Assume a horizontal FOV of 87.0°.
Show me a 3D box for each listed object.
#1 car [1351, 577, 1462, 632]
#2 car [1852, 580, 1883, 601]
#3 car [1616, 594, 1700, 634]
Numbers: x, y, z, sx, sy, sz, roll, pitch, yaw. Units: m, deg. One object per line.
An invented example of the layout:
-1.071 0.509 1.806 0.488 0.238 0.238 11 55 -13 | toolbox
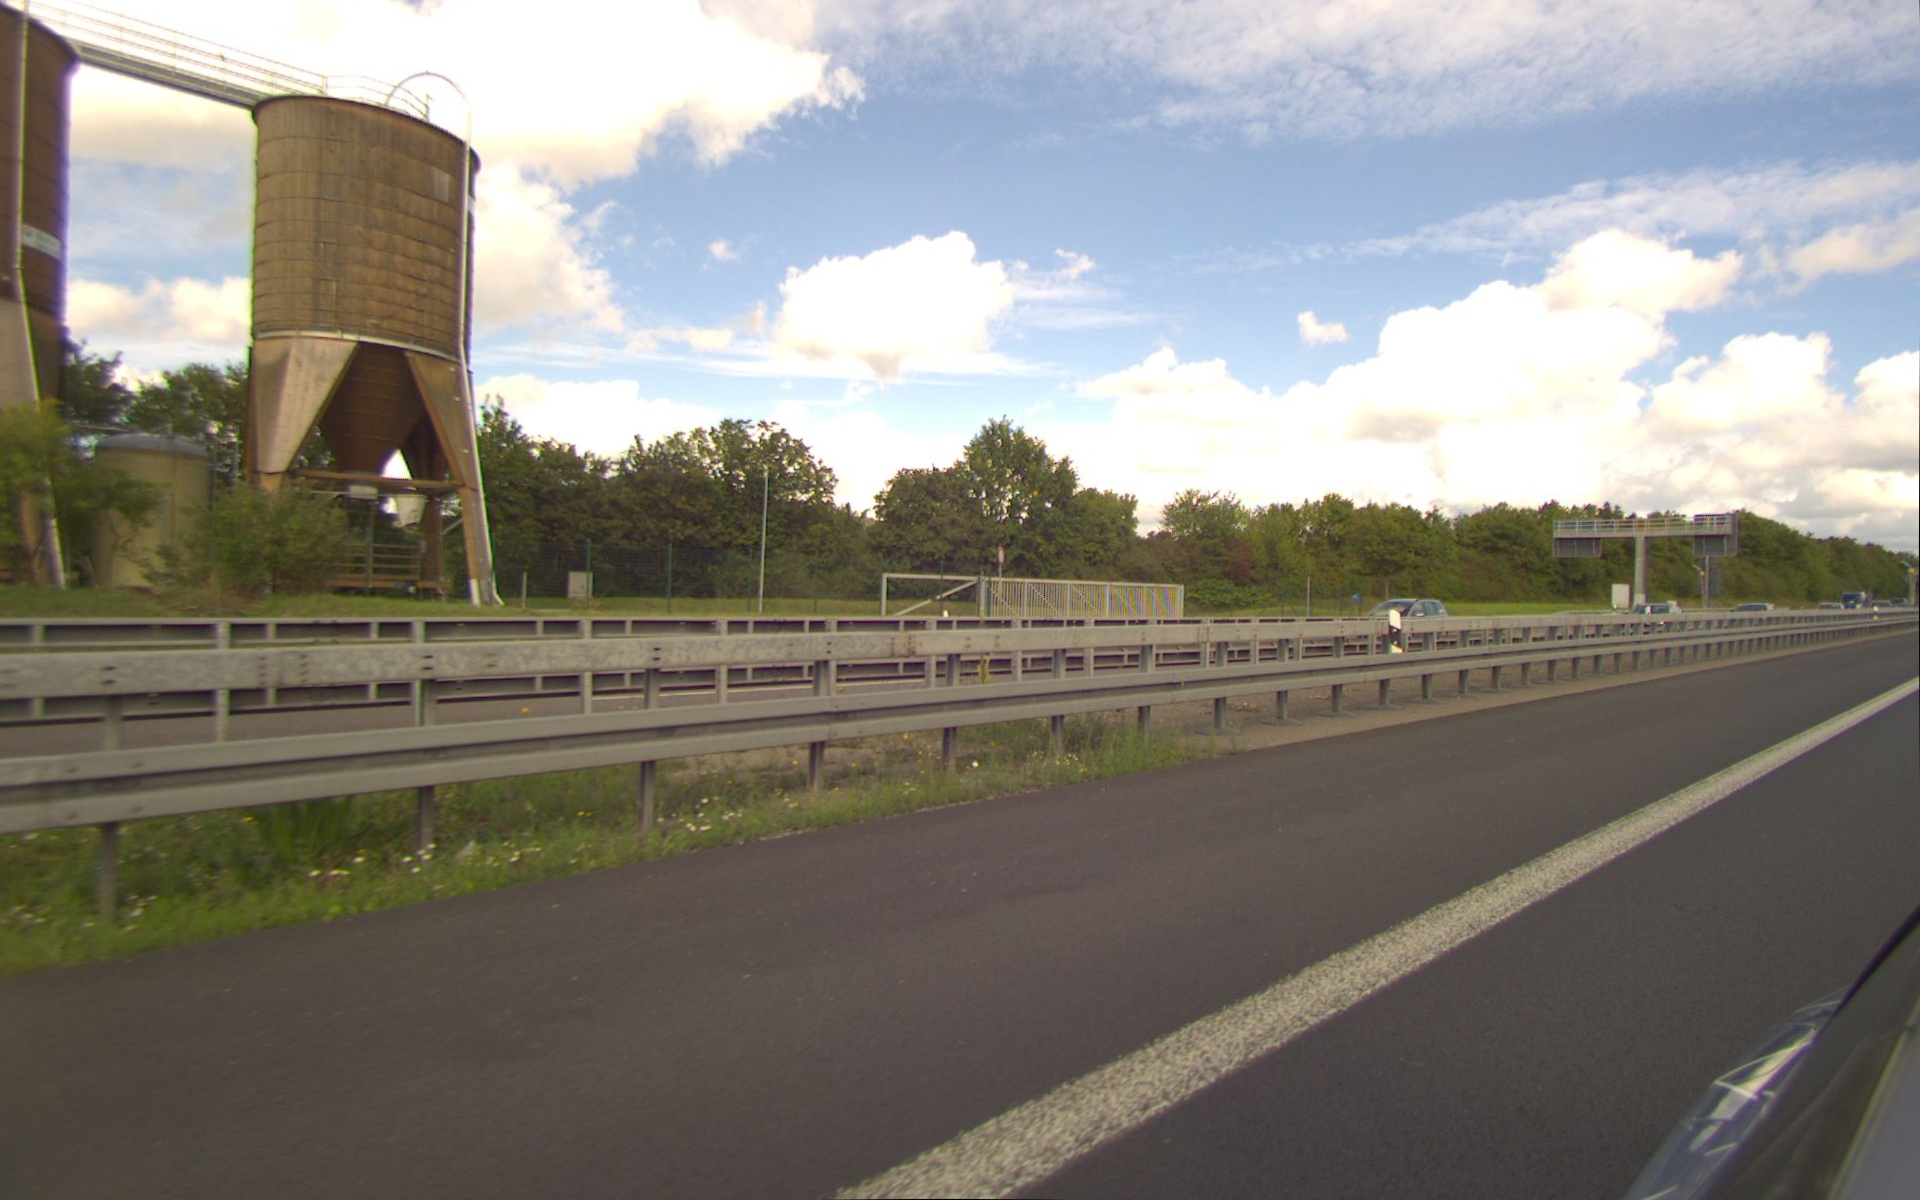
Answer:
15.402 0.116 34.826 3.931 1.729 1.997 0 3 -41 | car
98.484 -1.033 109.857 5.041 2.213 1.996 0 1 -43 | car
28.532 0.536 41.310 3.932 1.503 1.996 0 2 -43 | car
